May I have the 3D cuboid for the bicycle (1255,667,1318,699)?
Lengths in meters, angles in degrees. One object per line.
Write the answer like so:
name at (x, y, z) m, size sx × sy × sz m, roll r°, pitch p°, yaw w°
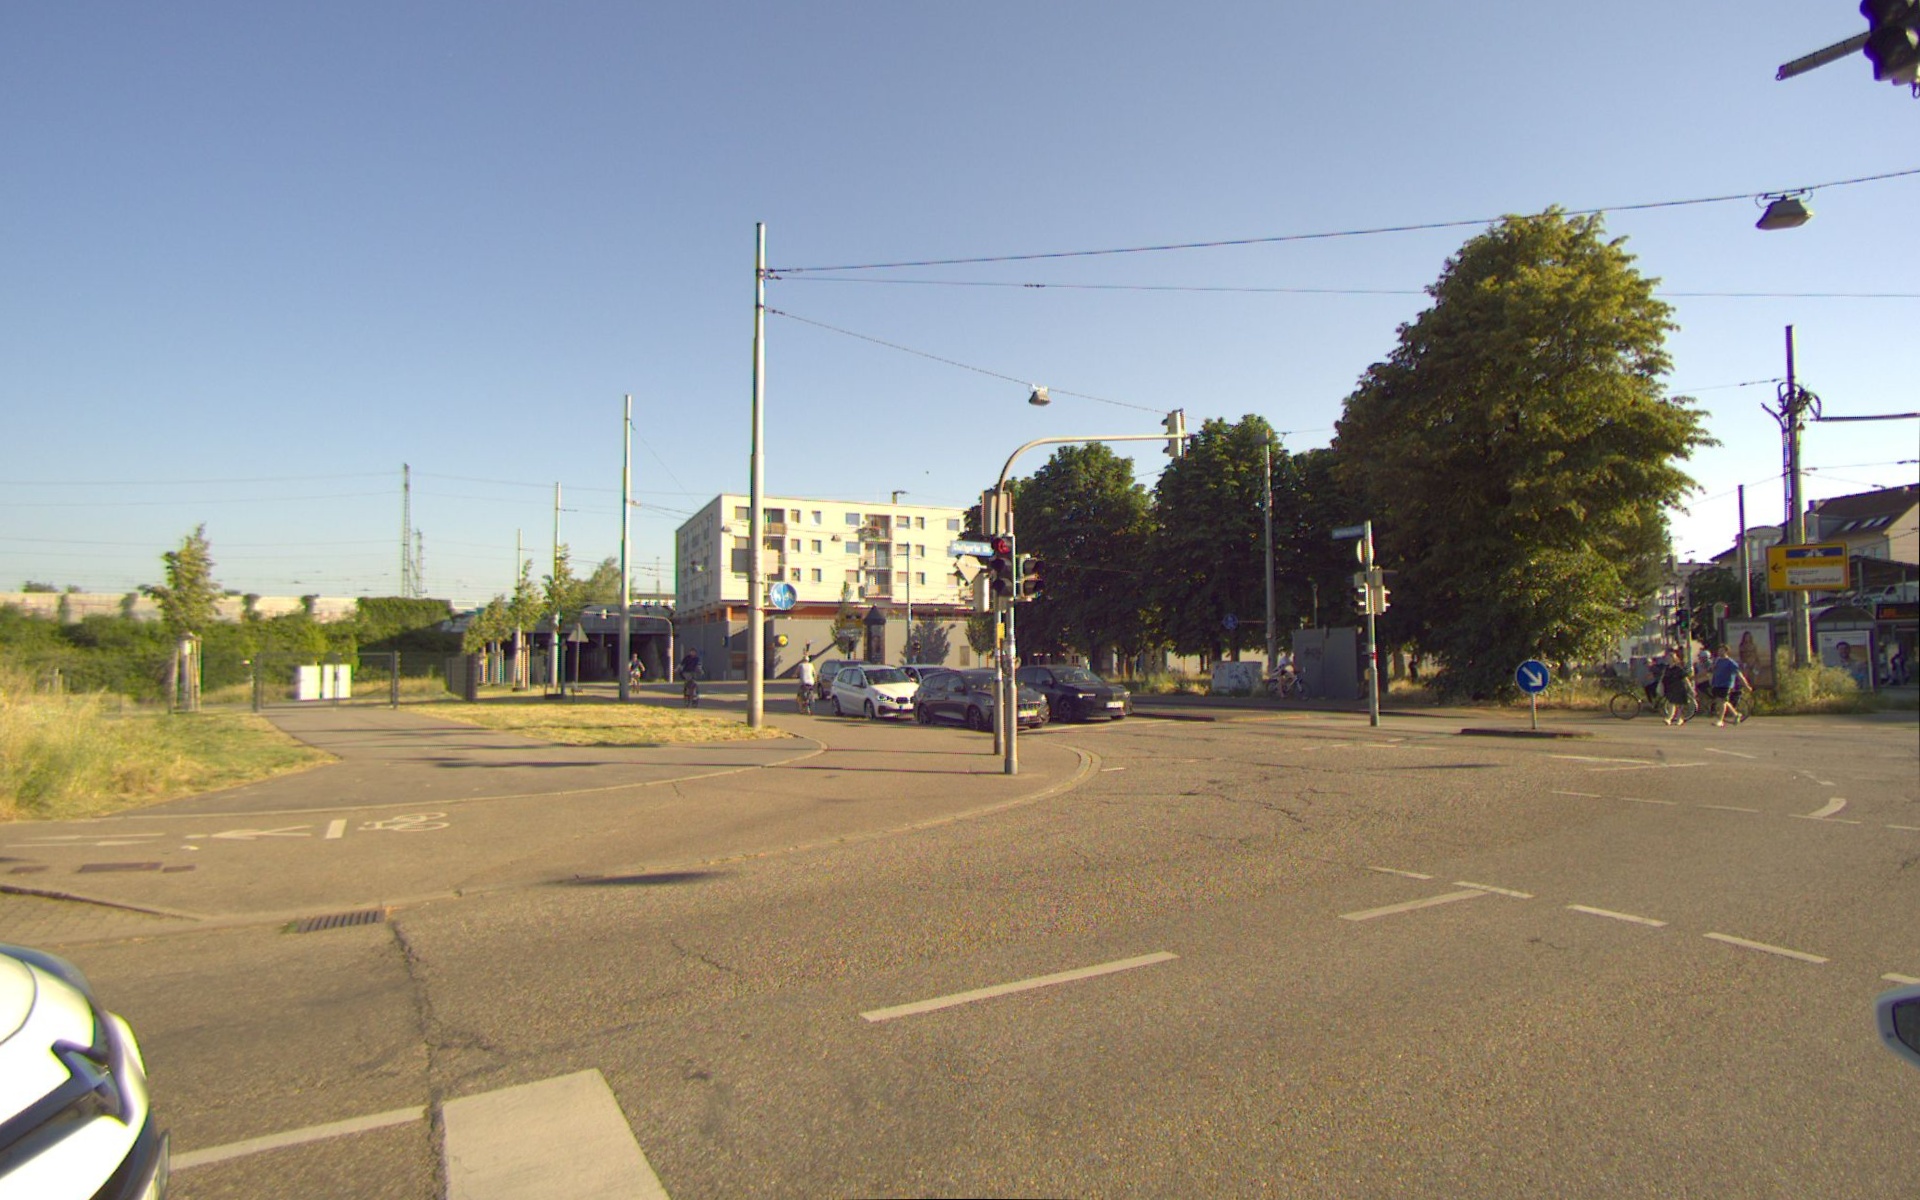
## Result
bicycle at (11.947, 3.025, 36.815) m, size 0.695 × 1.157 × 2.177 m, roll 2°, pitch -4°, yaw -39°

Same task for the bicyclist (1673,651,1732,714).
bicyclist at (18.599, 2.049, 25.154) m, size 0.693 × 1.552 × 1.025 m, roll 2°, pitch -4°, yaw -42°

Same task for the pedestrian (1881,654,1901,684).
pedestrian at (47.943, 3.545, 51.716) m, size 0.558 × 1.520 × 0.677 m, roll -2°, pitch -4°, yaw 32°

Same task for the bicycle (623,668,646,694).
bicycle at (-15.137, 3.734, 46.669) m, size 0.782 × 1.164 × 2.280 m, roll 1°, pitch -4°, yaw -24°

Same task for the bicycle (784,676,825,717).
bicycle at (-4.456, 2.743, 28.711) m, size 0.654 × 1.083 × 2.007 m, roll 1°, pitch -4°, yaw -25°

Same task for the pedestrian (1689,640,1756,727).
pedestrian at (17.665, 1.916, 23.264) m, size 1.057 × 1.950 × 0.906 m, roll 2°, pitch -4°, yaw -36°

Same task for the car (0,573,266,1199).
car at (-3.056, 0.714, 1.009) m, size 3.733 × 1.488 × 1.692 m, roll 2°, pitch -4°, yaw -32°

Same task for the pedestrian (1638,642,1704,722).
pedestrian at (16.429, 1.879, 23.205) m, size 1.057 × 1.769 × 0.906 m, roll 2°, pitch -4°, yaw -36°

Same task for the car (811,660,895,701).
car at (-4.440, 3.247, 40.988) m, size 1.975 × 1.587 × 4.426 m, roll 1°, pitch -4°, yaw -27°

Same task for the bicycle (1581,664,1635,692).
bicycle at (27.453, 3.291, 42.549) m, size 1.983 × 1.083 × 0.662 m, roll 2°, pitch 0°, yaw -10°

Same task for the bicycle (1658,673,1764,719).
bicycle at (18.690, 2.360, 25.029) m, size 0.658 × 1.083 × 1.995 m, roll 2°, pitch -4°, yaw -41°

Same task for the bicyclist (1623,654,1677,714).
bicyclist at (18.389, 2.232, 26.783) m, size 0.656 × 1.552 × 1.025 m, roll 2°, pitch -4°, yaw -42°

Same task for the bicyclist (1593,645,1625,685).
bicyclist at (27.479, 2.756, 42.543) m, size 0.870 × 1.673 × 0.670 m, roll 0°, pitch -3°, yaw -6°

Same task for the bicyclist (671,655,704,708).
bicyclist at (-8.681, 2.572, 31.962) m, size 0.866 × 1.646 × 0.967 m, roll 1°, pitch -3°, yaw -24°

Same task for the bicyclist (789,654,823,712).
bicyclist at (-4.421, 2.363, 28.753) m, size 0.766 × 1.626 × 0.852 m, roll 1°, pitch -3°, yaw -25°

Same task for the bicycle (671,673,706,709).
bicycle at (-8.646, 2.882, 31.968) m, size 0.744 × 1.107 × 1.937 m, roll 1°, pitch -4°, yaw -25°

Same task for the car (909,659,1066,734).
car at (0.549, 2.263, 24.248) m, size 1.975 × 1.587 × 4.246 m, roll 0°, pitch -3°, yaw -27°

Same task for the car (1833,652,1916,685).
car at (59.361, 4.432, 65.343) m, size 2.017 × 1.987 × 5.153 m, roll -4°, pitch -4°, yaw 19°

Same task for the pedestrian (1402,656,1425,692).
pedestrian at (24.323, 3.954, 53.881) m, size 0.675 × 1.896 × 0.943 m, roll 0°, pitch -3°, yaw -12°

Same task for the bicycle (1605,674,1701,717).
bicycle at (18.431, 2.515, 26.749) m, size 0.658 × 1.083 × 1.995 m, roll 2°, pitch -4°, yaw -41°

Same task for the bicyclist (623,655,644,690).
bicyclist at (-15.184, 3.371, 46.698) m, size 0.841 × 1.567 × 1.016 m, roll 1°, pitch -4°, yaw -25°

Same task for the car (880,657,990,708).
car at (-0.932, 2.725, 33.655) m, size 1.975 × 1.587 × 4.426 m, roll 1°, pitch -4°, yaw -27°

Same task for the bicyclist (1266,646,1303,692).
bicyclist at (11.904, 2.512, 36.869) m, size 0.707 × 1.650 × 1.030 m, roll 2°, pitch -4°, yaw -39°

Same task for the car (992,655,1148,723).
car at (2.778, 2.278, 26.409) m, size 2.027 × 1.587 × 4.423 m, roll 1°, pitch -4°, yaw -26°

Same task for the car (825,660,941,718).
car at (-2.386, 2.601, 29.945) m, size 1.975 × 1.587 × 4.246 m, roll 1°, pitch -4°, yaw -27°
